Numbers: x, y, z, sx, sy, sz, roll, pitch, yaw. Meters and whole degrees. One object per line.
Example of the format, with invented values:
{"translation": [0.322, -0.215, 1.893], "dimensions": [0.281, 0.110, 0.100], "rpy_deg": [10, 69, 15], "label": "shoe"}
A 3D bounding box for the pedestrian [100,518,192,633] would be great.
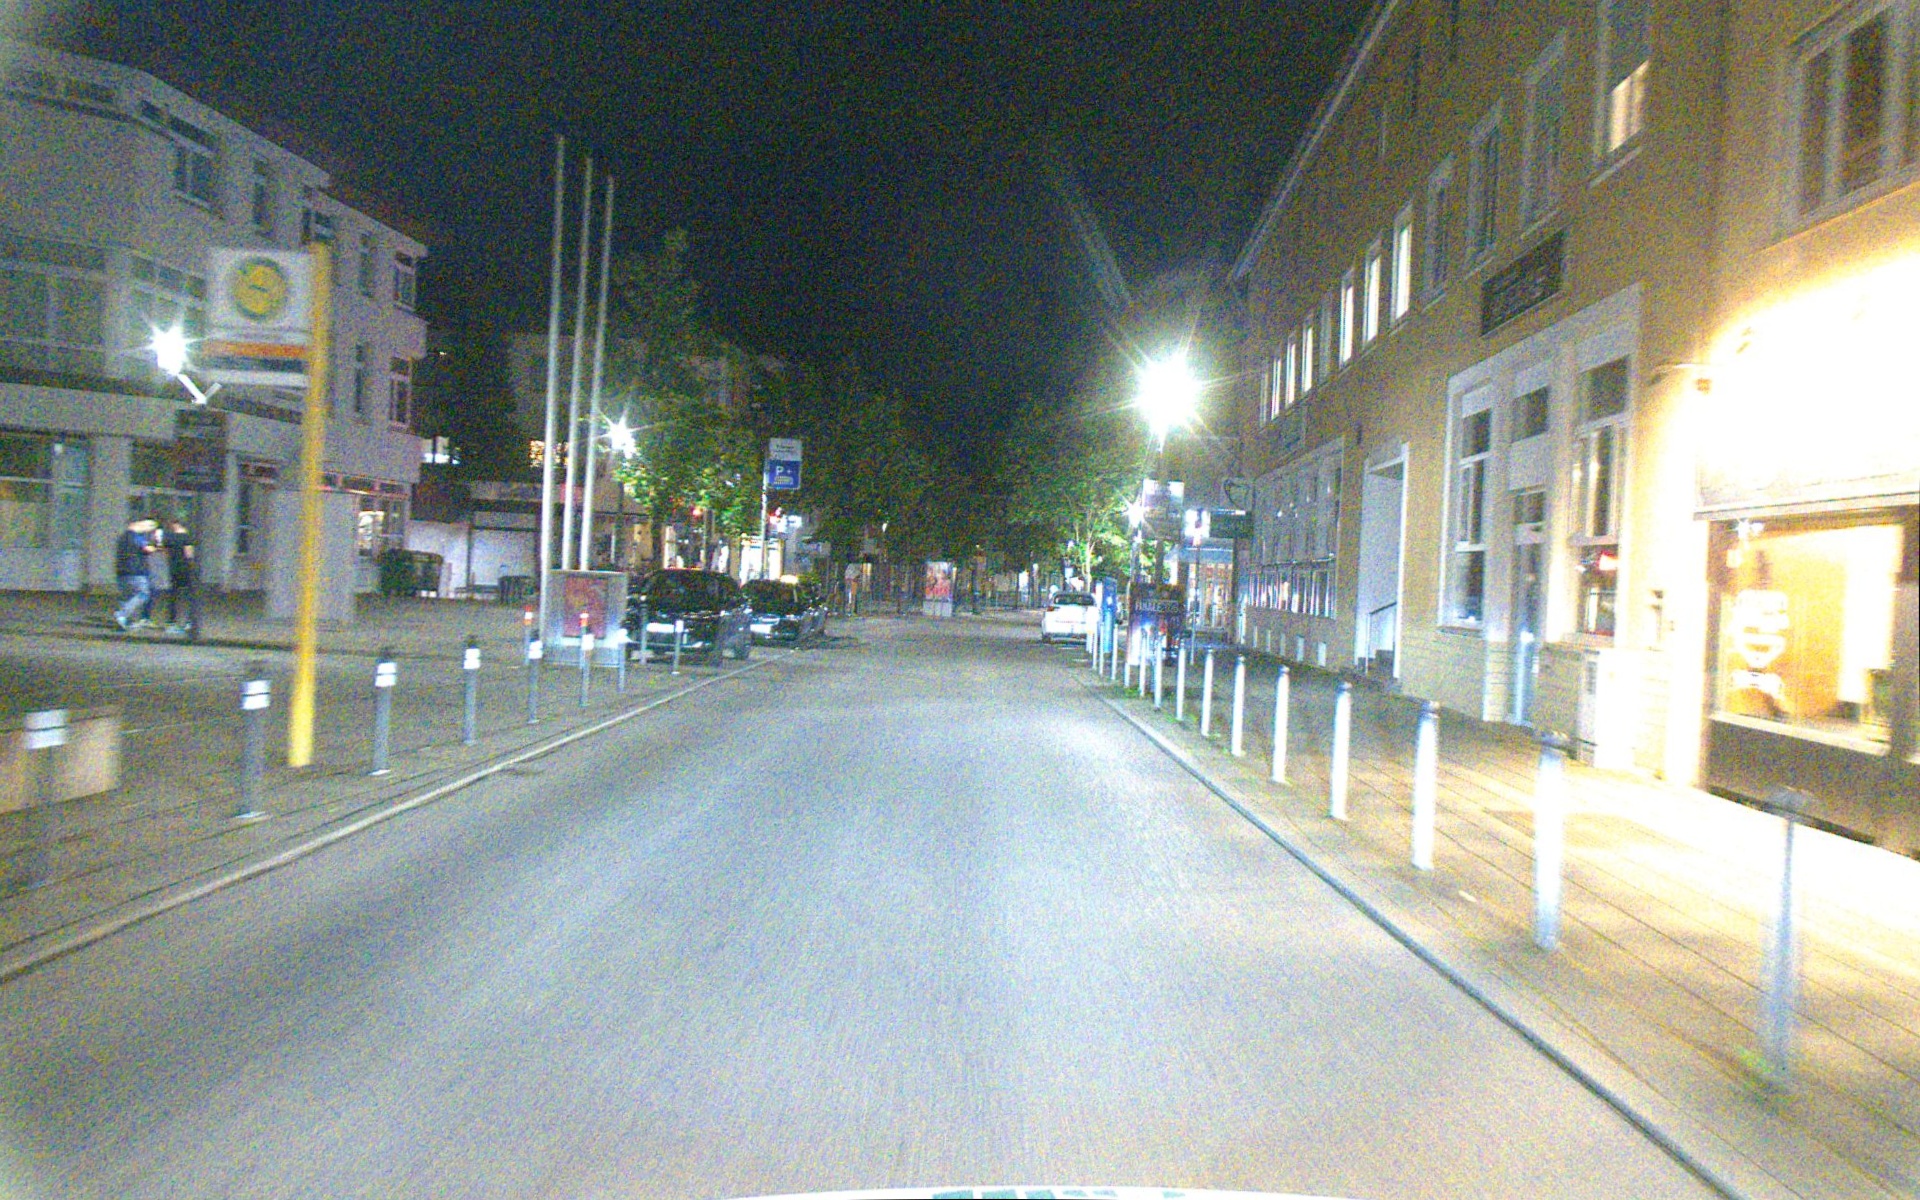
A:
{"translation": [-13.593, -0.401, 27.635], "dimensions": [0.776, 1.848, 1.023], "rpy_deg": [4, 0, 21], "label": "pedestrian"}

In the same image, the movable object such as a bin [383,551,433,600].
{"translation": [-17.514, -0.767, 52.511], "dimensions": [1.015, 1.469, 1.286], "rpy_deg": [3, -1, 2], "label": "movable object such as a bin"}

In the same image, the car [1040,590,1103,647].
{"translation": [3.206, 0.548, 48.008], "dimensions": [1.706, 1.513, 4.638], "rpy_deg": [2, -1, 3], "label": "car"}

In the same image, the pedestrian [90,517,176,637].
{"translation": [-13.369, -0.372, 26.745], "dimensions": [0.861, 1.863, 0.790], "rpy_deg": [4, 0, 26], "label": "pedestrian"}

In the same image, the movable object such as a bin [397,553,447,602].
{"translation": [-17.484, -0.728, 53.815], "dimensions": [1.107, 1.483, 1.228], "rpy_deg": [3, -1, 2], "label": "movable object such as a bin"}

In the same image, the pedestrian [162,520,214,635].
{"translation": [-12.683, -0.369, 27.179], "dimensions": [0.491, 1.854, 0.503], "rpy_deg": [2, -1, 25], "label": "pedestrian"}

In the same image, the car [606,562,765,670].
{"translation": [-4.584, 0.249, 28.259], "dimensions": [1.734, 1.601, 4.484], "rpy_deg": [3, 0, 2], "label": "car"}

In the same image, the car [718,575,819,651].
{"translation": [-4.416, 0.266, 38.754], "dimensions": [1.867, 1.568, 4.780], "rpy_deg": [3, 0, -2], "label": "car"}

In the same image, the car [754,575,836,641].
{"translation": [-4.484, 0.191, 45.545], "dimensions": [1.723, 1.666, 4.815], "rpy_deg": [2, 0, 0], "label": "car"}

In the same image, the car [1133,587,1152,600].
{"translation": [23.021, -0.827, 208.171], "dimensions": [1.873, 1.394, 4.461], "rpy_deg": [2, 2, 13], "label": "car"}
